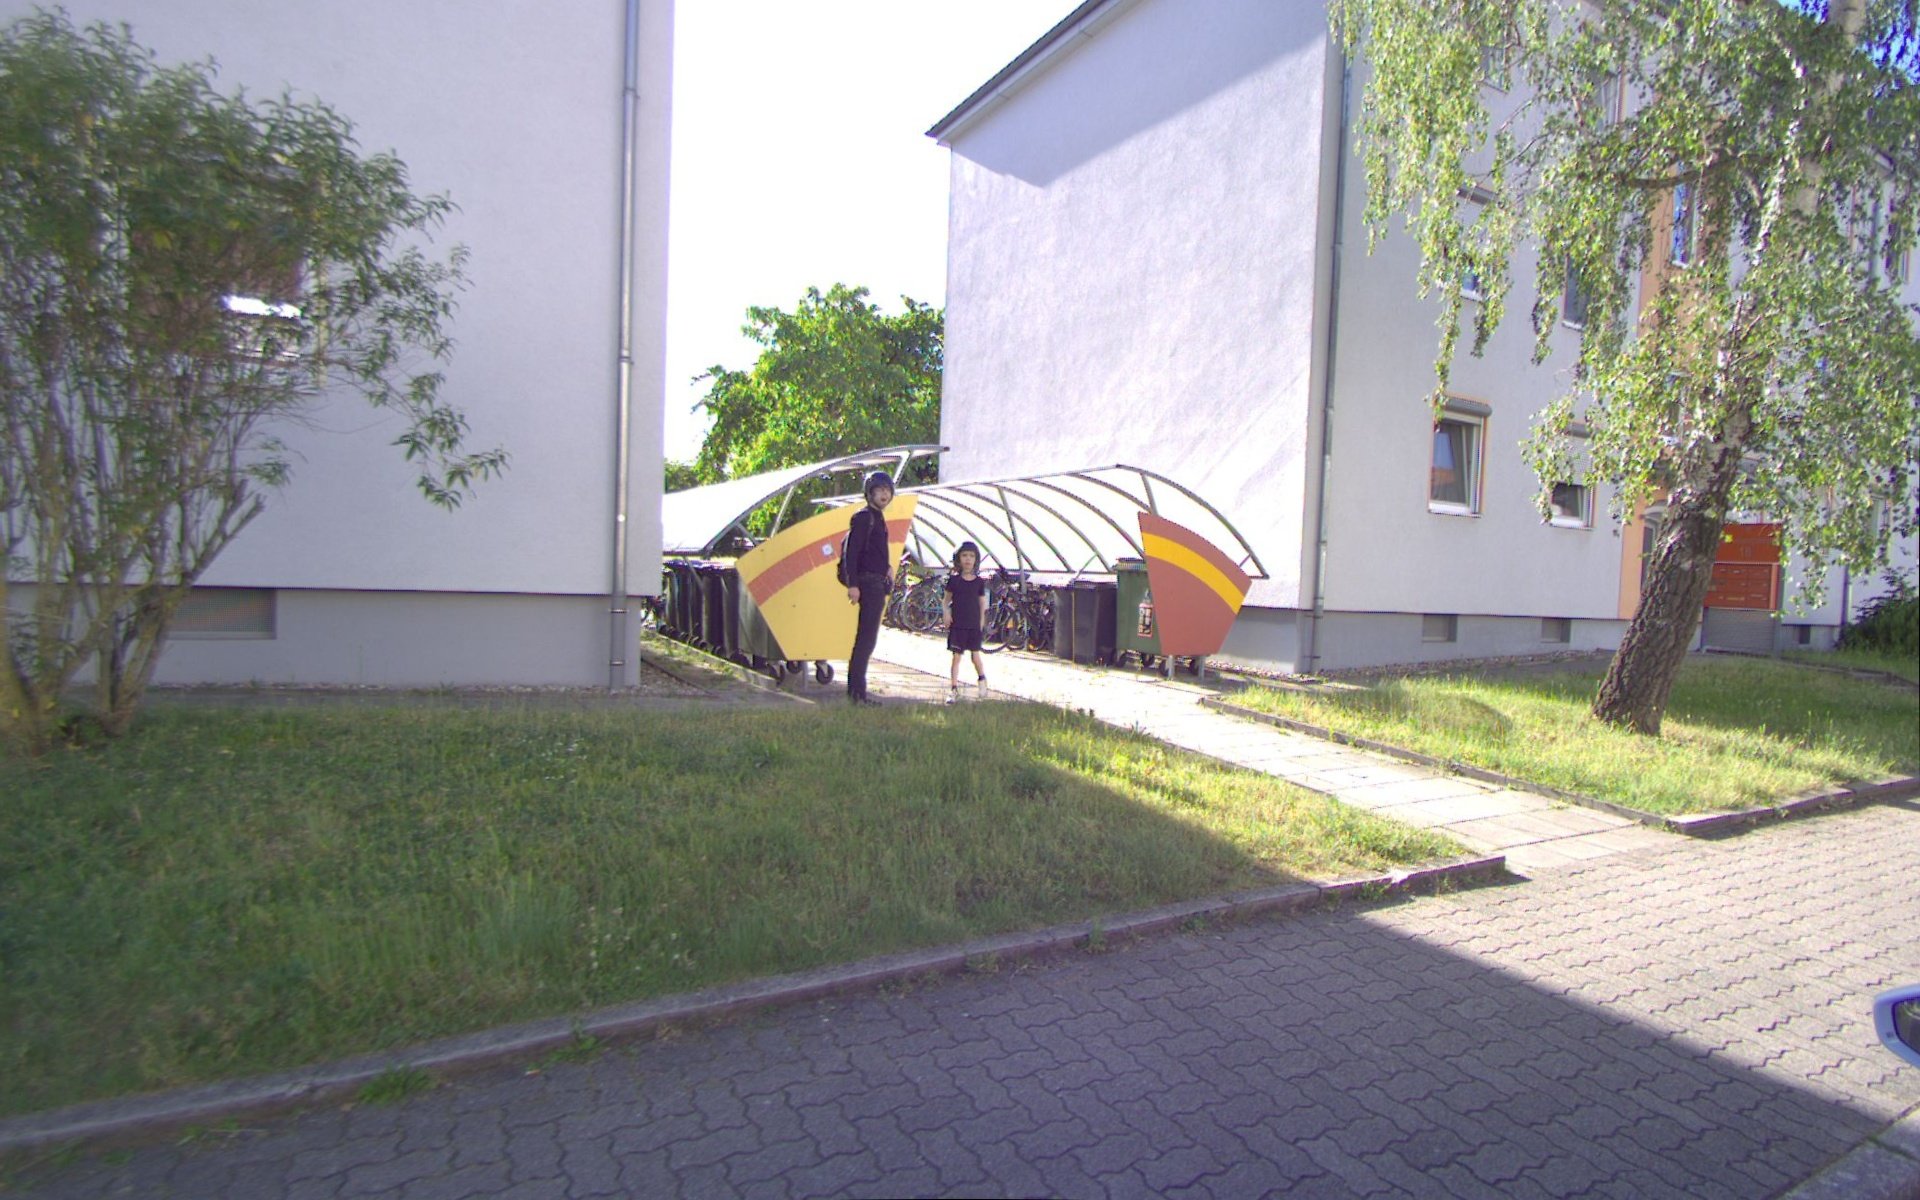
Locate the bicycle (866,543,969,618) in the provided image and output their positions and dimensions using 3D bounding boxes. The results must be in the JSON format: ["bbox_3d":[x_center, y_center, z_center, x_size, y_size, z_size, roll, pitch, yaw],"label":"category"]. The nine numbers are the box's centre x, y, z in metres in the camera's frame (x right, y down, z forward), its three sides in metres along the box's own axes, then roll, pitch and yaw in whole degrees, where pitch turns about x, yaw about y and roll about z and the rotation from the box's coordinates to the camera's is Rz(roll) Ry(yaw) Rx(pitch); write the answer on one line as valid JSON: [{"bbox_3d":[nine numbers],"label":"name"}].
[{"bbox_3d":[-0.724,-0.327,17.561,1.768,1.252,0.466,1,1,-31],"label":"bicycle"}]

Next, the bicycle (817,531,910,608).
[{"bbox_3d":[-1.858,-0.566,19.488,1.738,1.416,0.463,1,1,-31],"label":"bicycle"}]

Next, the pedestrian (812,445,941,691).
[{"bbox_3d":[-0.686,-0.244,8.084,0.709,1.848,0.802,1,2,-29],"label":"pedestrian"}]

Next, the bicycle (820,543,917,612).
[{"bbox_3d":[-1.714,-0.417,18.953,1.750,1.235,0.499,1,1,-31],"label":"bicycle"}]

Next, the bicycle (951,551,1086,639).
[{"bbox_3d":[0.821,-0.059,13.907,1.828,1.132,0.529,1,4,-31],"label":"bicycle"}]

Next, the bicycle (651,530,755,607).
[{"bbox_3d":[-4.026,-0.476,15.752,1.509,1.142,0.403,1,1,-31],"label":"bicycle"}]

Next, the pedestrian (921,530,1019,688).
[{"bbox_3d":[0.079,0.068,8.907,0.568,1.335,0.683,1,2,-29],"label":"pedestrian"}]

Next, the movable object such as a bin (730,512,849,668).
[{"bbox_3d":[-1.686,-0.116,9.835,0.803,1.425,1.079,1,3,-29],"label":"movable object such as a bin"}]

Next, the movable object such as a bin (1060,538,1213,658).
[{"bbox_3d":[2.182,-0.043,12.536,1.213,1.354,1.381,1,4,-30],"label":"movable object such as a bin"}]

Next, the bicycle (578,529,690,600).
[{"bbox_3d":[-5.452,-0.584,16.823,1.701,1.119,0.524,1,2,-31],"label":"bicycle"}]

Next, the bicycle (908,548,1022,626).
[{"bbox_3d":[0.100,-0.183,15.812,1.814,1.169,0.427,1,1,-31],"label":"bicycle"}]

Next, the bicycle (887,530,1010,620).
[{"bbox_3d":[-0.181,-0.395,16.848,1.990,1.416,0.614,1,1,-31],"label":"bicycle"}]

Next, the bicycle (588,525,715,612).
[{"bbox_3d":[-4.554,-0.446,14.860,1.715,1.207,0.452,1,1,-31],"label":"bicycle"}]

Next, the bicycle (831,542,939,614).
[{"bbox_3d":[-1.361,-0.383,18.478,1.922,1.252,0.524,1,1,-31],"label":"bicycle"}]
